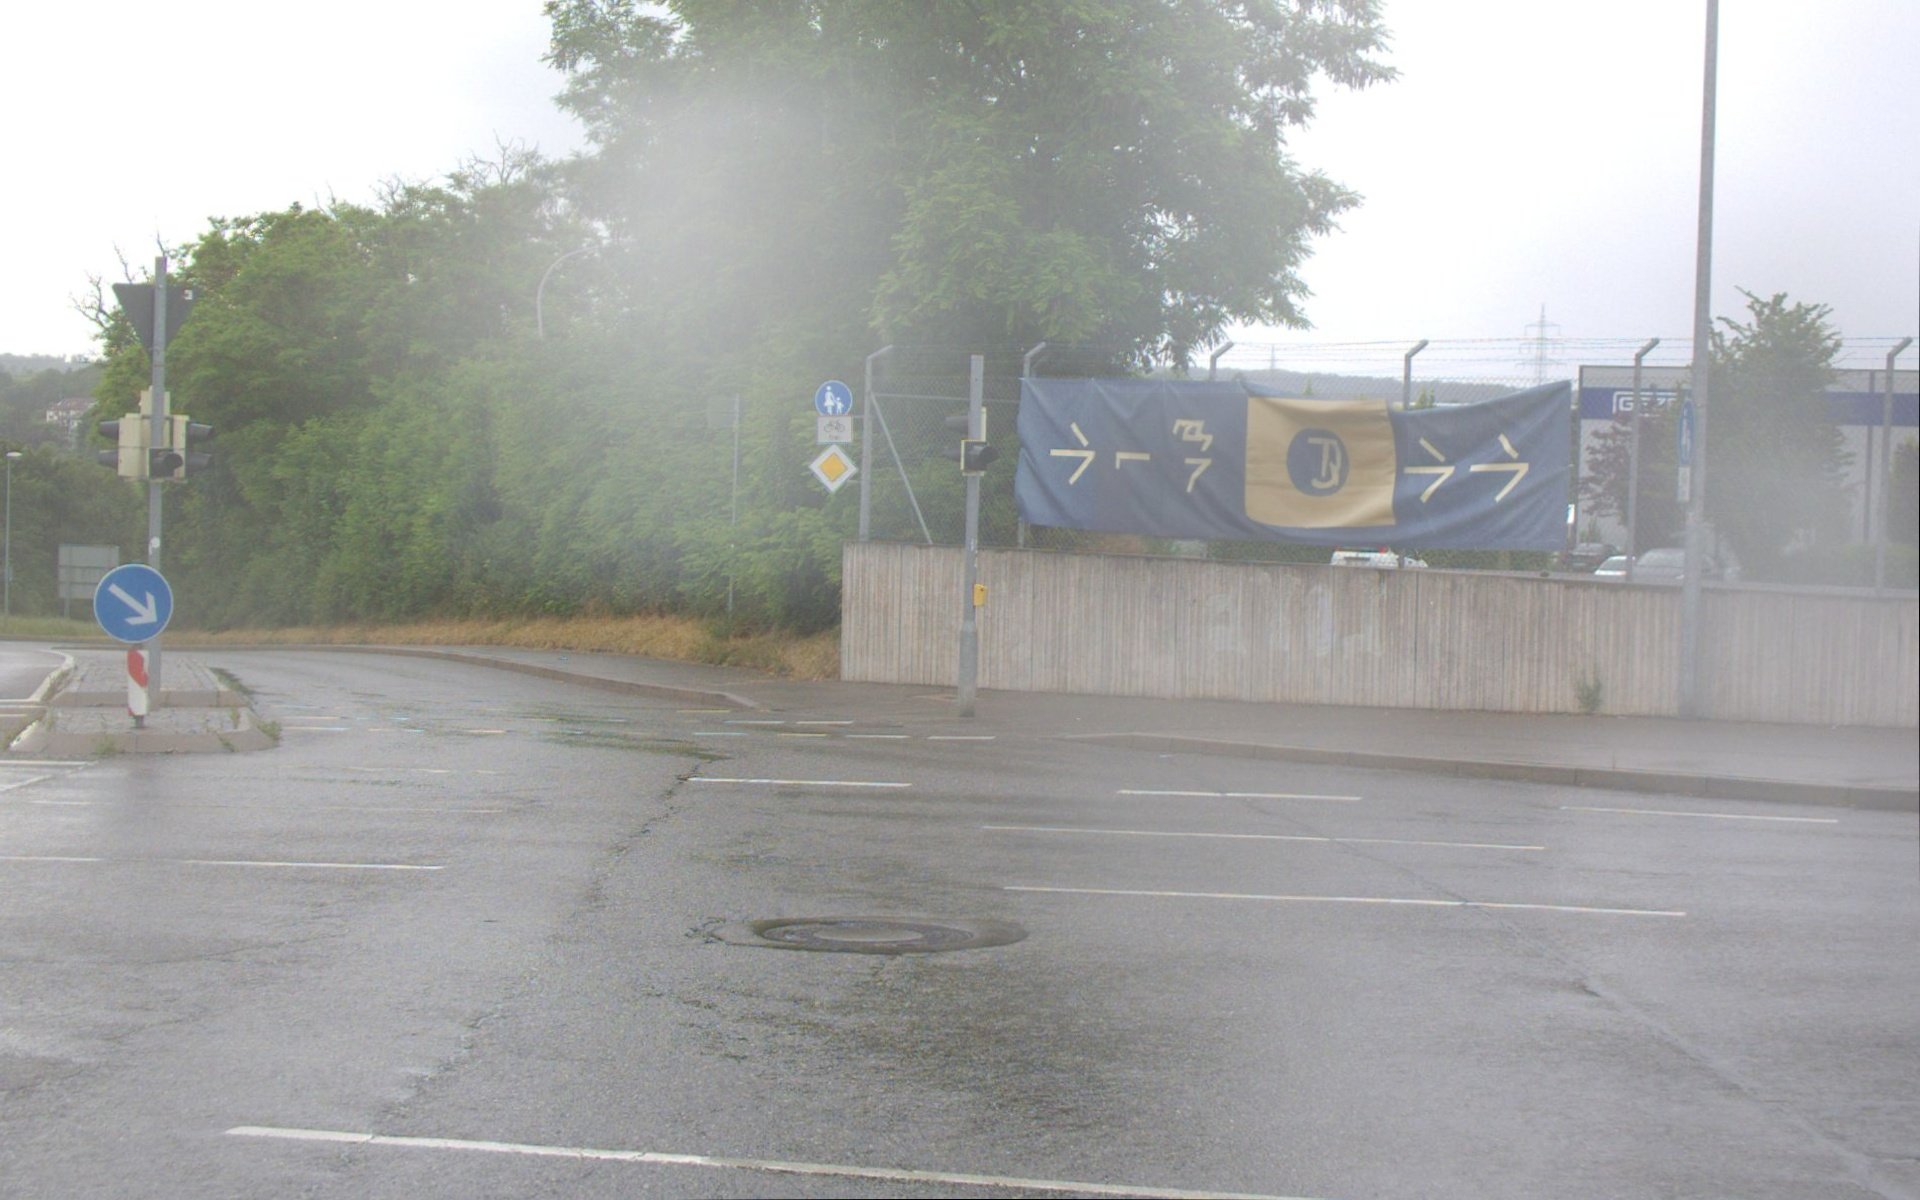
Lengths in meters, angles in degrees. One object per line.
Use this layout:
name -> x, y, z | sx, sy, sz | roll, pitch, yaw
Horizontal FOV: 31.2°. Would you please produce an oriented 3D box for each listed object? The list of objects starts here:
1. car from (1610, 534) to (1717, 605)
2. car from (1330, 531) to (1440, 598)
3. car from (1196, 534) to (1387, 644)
car -> 16.659, -0.717, 81.357 | 1.669, 1.601, 3.526 | 1, 1, 25
car -> 10.542, -0.877, 85.095 | 1.669, 1.601, 3.526 | 1, 1, 25
car -> 5.010, -0.167, 51.669 | 1.745, 1.564, 3.526 | 1, 1, 25
